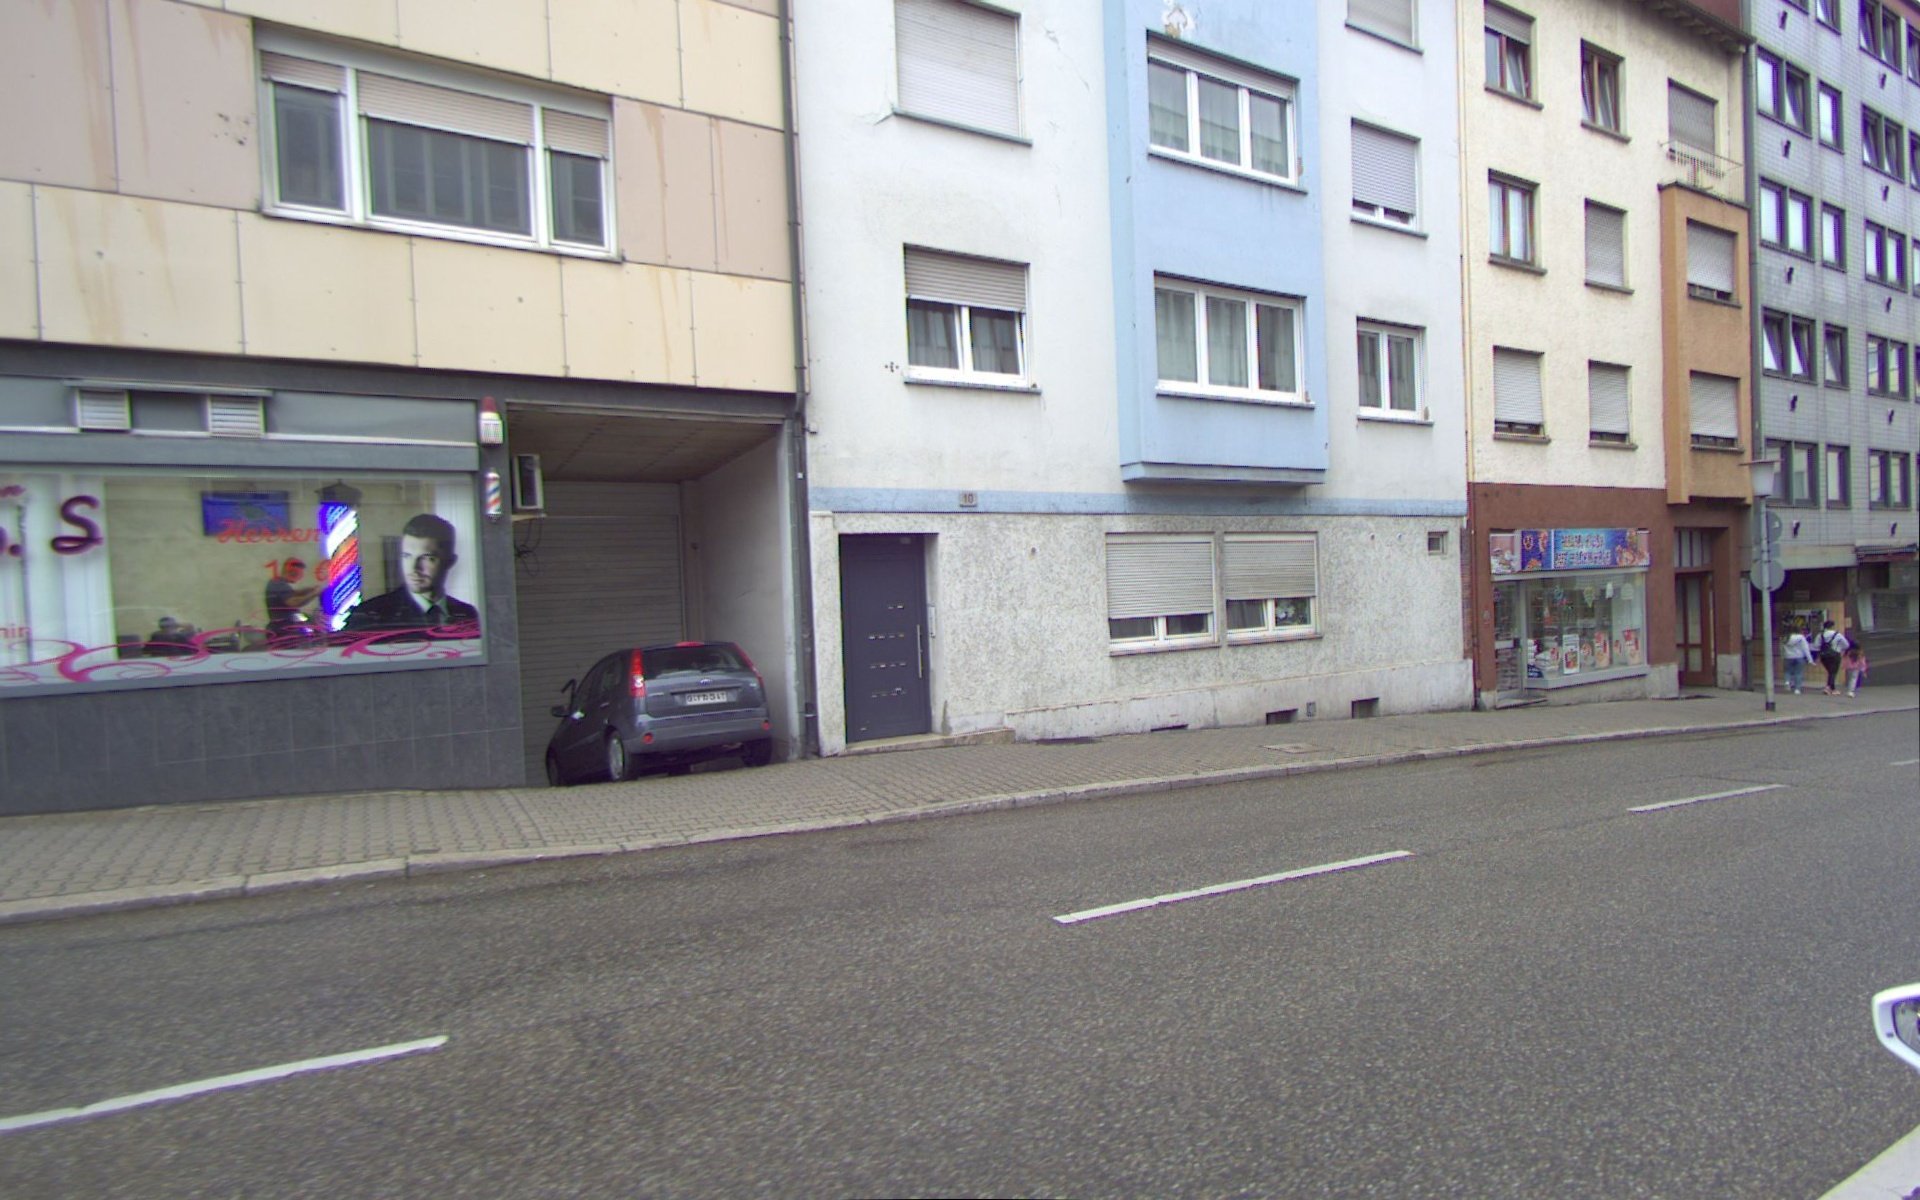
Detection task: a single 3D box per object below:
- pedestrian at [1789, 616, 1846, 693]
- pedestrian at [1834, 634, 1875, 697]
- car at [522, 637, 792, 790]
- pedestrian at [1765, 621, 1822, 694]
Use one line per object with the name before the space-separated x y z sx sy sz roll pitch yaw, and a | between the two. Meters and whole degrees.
pedestrian | 19.741 1.233 23.124 0.717 1.712 0.821 1 1 -39
pedestrian | 19.902 1.446 22.341 0.717 1.341 0.529 1 1 -39
car | -3.624 1.340 11.513 1.663 1.367 3.963 -2 -6 -37
pedestrian | 18.767 1.271 22.629 0.717 1.582 0.821 1 1 -39
